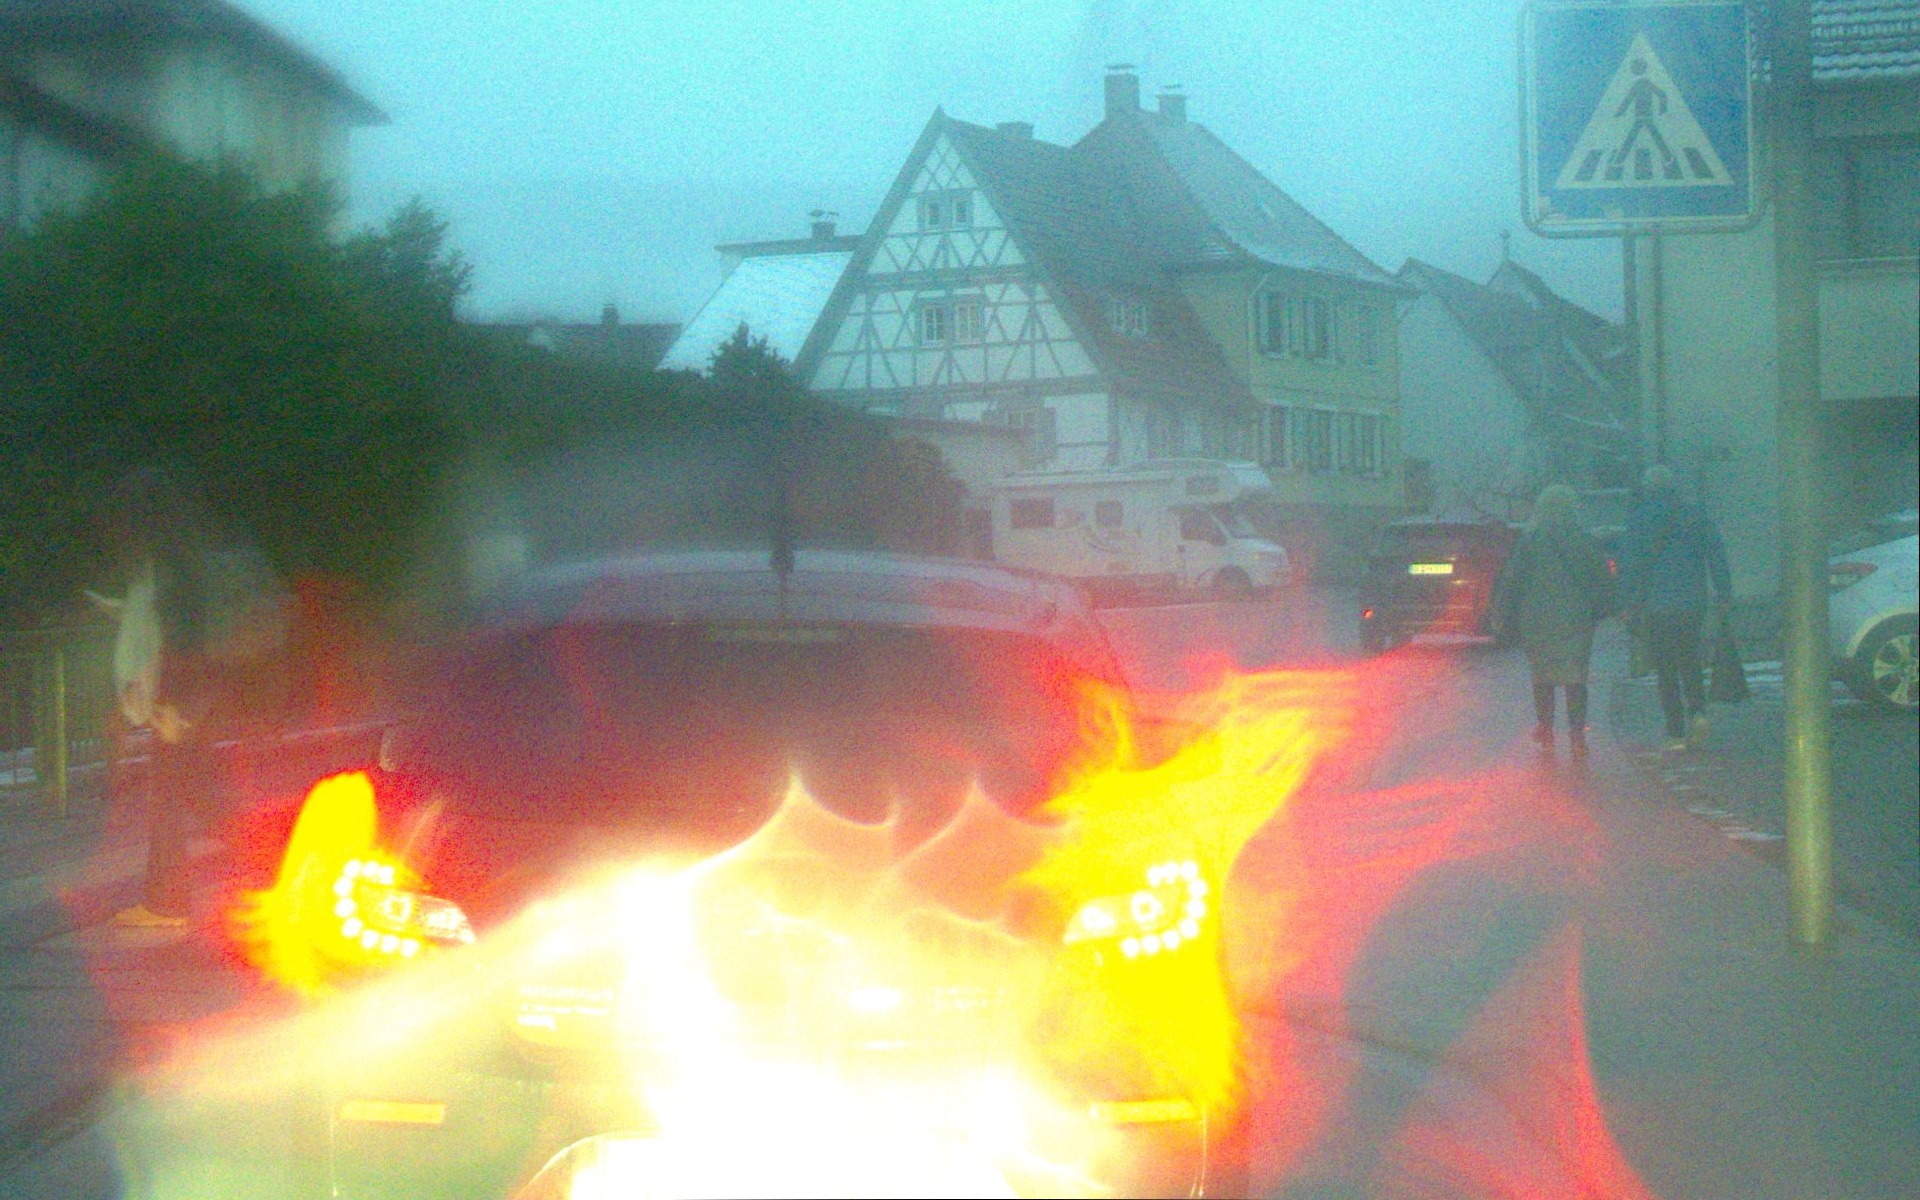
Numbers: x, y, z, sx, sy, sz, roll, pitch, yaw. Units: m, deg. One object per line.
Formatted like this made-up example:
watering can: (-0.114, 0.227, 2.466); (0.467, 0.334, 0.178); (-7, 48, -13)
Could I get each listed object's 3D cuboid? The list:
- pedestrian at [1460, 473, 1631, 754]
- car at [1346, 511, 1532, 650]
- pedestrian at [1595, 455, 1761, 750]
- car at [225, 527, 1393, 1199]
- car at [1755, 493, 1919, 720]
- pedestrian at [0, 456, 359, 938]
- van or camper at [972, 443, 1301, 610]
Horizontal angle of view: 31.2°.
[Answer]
pedestrian: (3.659, 0.070, 21.433); (0.867, 1.661, 0.991); (-4, 1, 14)
car: (5.983, -0.270, 42.569); (1.849, 1.631, 4.333); (0, 1, 14)
pedestrian: (4.433, 0.007, 21.192); (0.849, 1.727, 0.971); (-4, 1, 14)
car: (-0.391, 0.585, 7.292); (1.795, 1.471, 4.001); (0, 1, -5)
car: (7.495, -0.038, 23.390); (3.901, 1.469, 1.750); (-2, 1, 10)
pedestrian: (-2.962, 0.350, 13.112); (0.880, 1.729, 0.955); (-4, 1, 15)
van or camper: (3.596, -1.473, 70.123); (6.067, 2.945, 2.404); (-4, 0, 22)
